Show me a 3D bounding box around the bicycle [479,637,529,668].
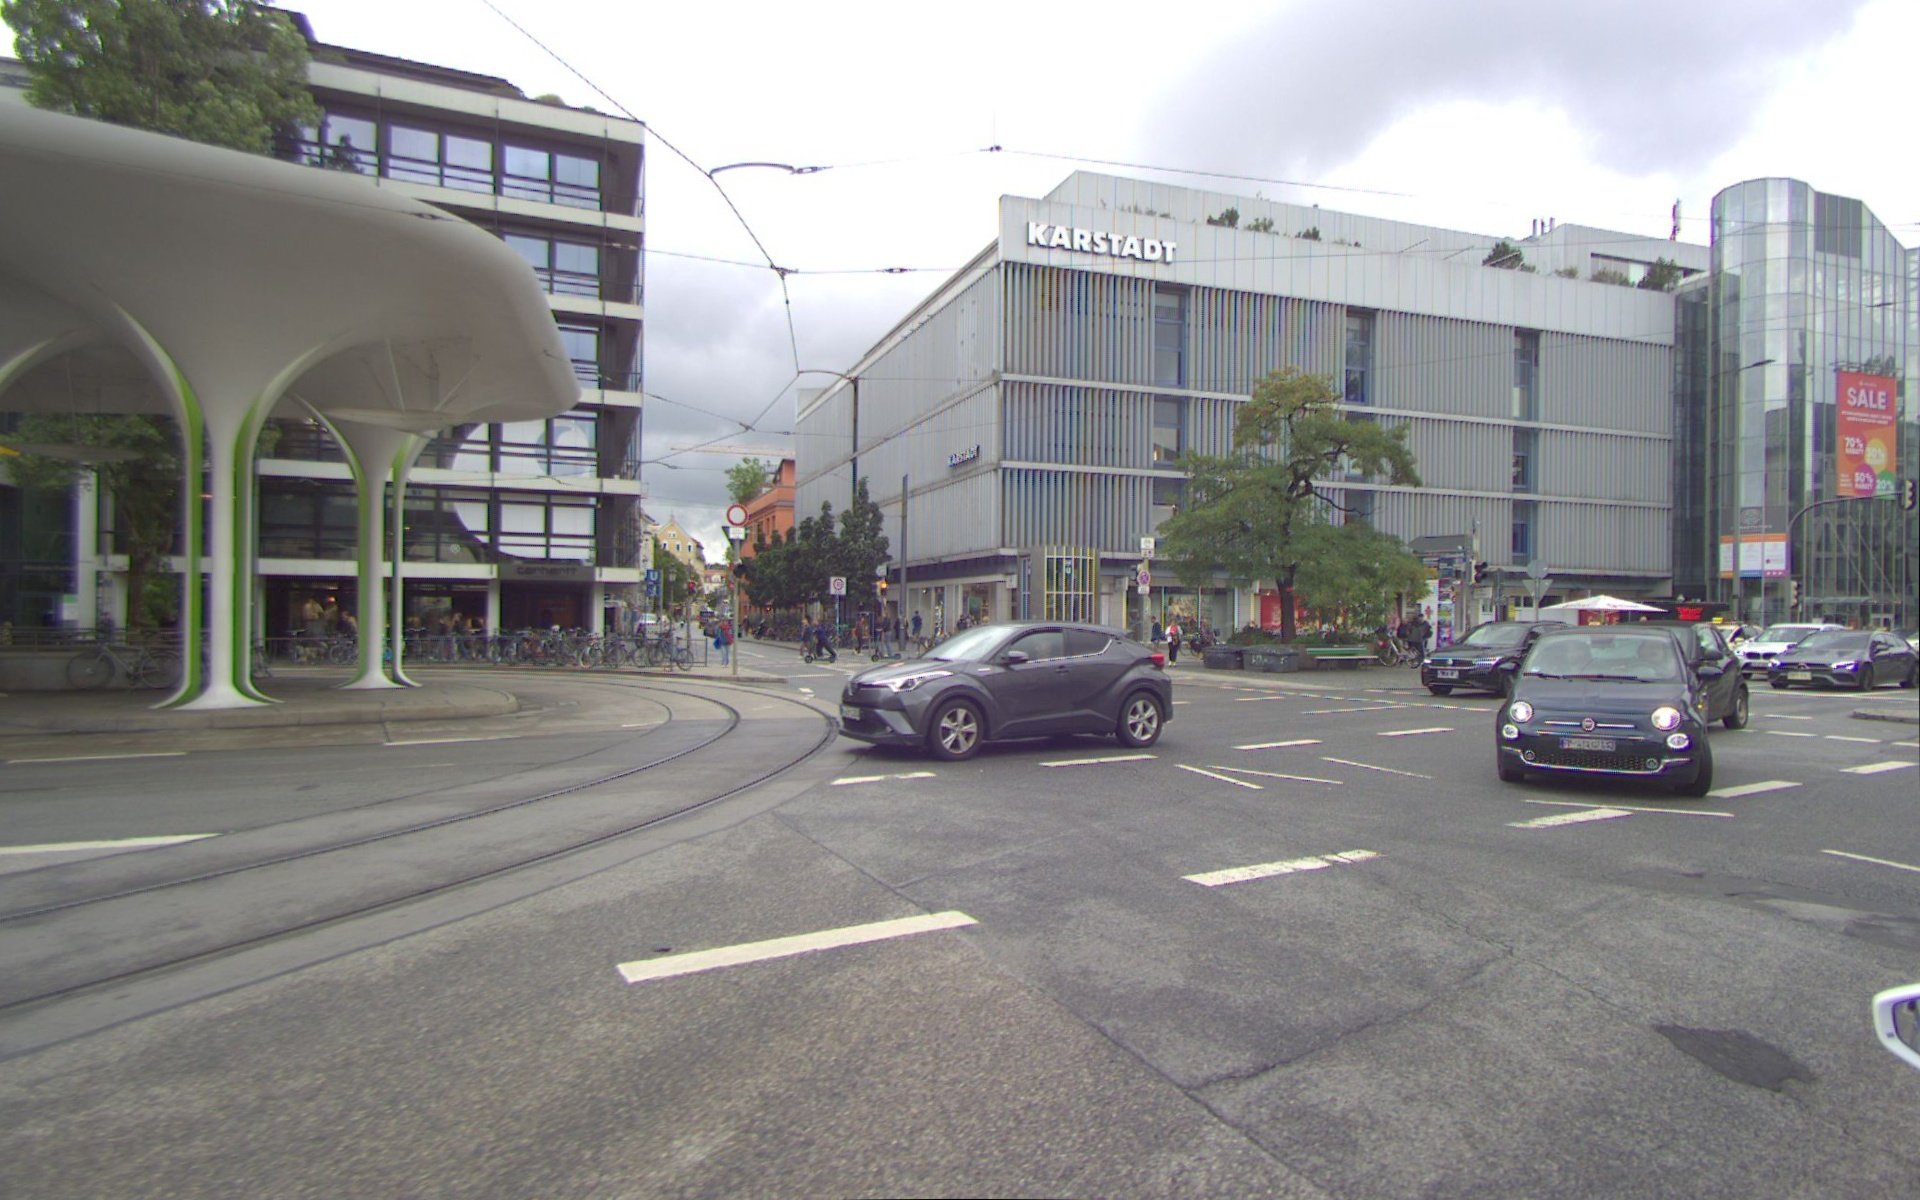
[{"bbox_3d":[-14.385,1.639,31.755,0.446,0.952,1.732,1,-2,14],"label":"bicycle"}]

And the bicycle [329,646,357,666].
[{"bbox_3d":[-21.479,1.942,34.977,0.357,0.641,1.630,0,-1,-15],"label":"bicycle"}]

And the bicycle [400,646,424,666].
[{"bbox_3d":[-19.537,1.986,35.836,0.357,0.641,1.630,0,-1,-15],"label":"bicycle"}]

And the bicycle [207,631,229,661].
[{"bbox_3d":[-25.022,1.541,33.900,0.445,0.939,1.812,1,-1,-32],"label":"bicycle"}]

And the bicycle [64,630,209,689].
[{"bbox_3d":[-16.464,1.186,20.146,2.133,1.139,0.640,1,-1,-21],"label":"bicycle"}]

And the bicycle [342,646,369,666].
[{"bbox_3d":[-21.127,1.951,35.108,0.357,0.641,1.630,0,-1,-15],"label":"bicycle"}]

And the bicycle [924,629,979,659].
[{"bbox_3d":[-0.312,1.596,36.464,1.963,1.011,0.524,3,-2,-30],"label":"bicycle"}]

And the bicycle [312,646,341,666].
[{"bbox_3d":[-21.933,1.932,34.806,0.357,0.641,1.630,0,-1,-15],"label":"bicycle"}]

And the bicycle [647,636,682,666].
[{"bbox_3d":[-11.255,1.934,38.305,0.420,1.088,1.635,0,-1,18],"label":"bicycle"}]

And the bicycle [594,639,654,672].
[{"bbox_3d":[-10.100,1.666,30.236,0.448,0.952,1.723,0,-2,40],"label":"bicycle"}]

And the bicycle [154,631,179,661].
[{"bbox_3d":[-26.279,1.514,33.272,0.445,0.939,1.812,1,-1,-32],"label":"bicycle"}]

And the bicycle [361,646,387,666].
[{"bbox_3d":[-20.592,1.964,35.296,0.357,0.641,1.630,0,-1,-15],"label":"bicycle"}]

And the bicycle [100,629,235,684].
[{"bbox_3d":[-16.859,1.189,21.427,2.149,1.133,0.652,1,-1,-20],"label":"bicycle"}]

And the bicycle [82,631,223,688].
[{"bbox_3d":[-16.658,1.205,20.773,2.149,1.133,0.652,1,-1,-20],"label":"bicycle"}]

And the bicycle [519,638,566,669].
[{"bbox_3d":[-13.168,1.675,31.746,0.446,0.952,1.732,1,-2,12],"label":"bicycle"}]

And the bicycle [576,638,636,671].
[{"bbox_3d":[-10.652,1.649,30.269,0.448,0.952,1.724,0,-2,38],"label":"bicycle"}]

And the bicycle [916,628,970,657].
[{"bbox_3d":[-0.613,1.579,36.978,1.963,1.011,0.524,3,-2,-30],"label":"bicycle"}]

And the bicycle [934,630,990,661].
[{"bbox_3d":[0.064,1.619,35.681,1.963,1.011,0.524,3,-2,-30],"label":"bicycle"}]

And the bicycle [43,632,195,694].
[{"bbox_3d":[-16.238,1.204,19.452,2.133,1.139,0.640,1,-1,-21],"label":"bicycle"}]

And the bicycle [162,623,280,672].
[{"bbox_3d":[-17.695,1.122,24.106,2.149,1.133,0.652,1,-1,-20],"label":"bicycle"}]

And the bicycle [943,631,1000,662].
[{"bbox_3d":[0.420,1.641,34.985,1.963,1.011,0.524,3,-2,-30],"label":"bicycle"}]

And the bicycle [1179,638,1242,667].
[{"bbox_3d":[10.952,2.287,44.076,1.043,1.172,3.493,1,-1,-17],"label":"bicycle"}]

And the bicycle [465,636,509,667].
[{"bbox_3d":[-15.048,1.616,31.988,0.446,0.952,1.732,1,-2,4],"label":"bicycle"}]

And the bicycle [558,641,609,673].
[{"bbox_3d":[-11.578,1.734,30.962,0.446,0.952,1.731,1,-2,19],"label":"bicycle"}]

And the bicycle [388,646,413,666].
[{"bbox_3d":[-19.887,1.978,35.728,0.357,0.641,1.630,0,-1,-15],"label":"bicycle"}]

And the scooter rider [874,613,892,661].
[{"bbox_3d":[-3.006,1.431,39.292,0.655,1.859,0.619,1,-1,-10],"label":"scooter rider"}]

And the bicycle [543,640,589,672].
[{"bbox_3d":[-12.196,1.713,31.135,0.446,0.952,1.732,1,-2,12],"label":"bicycle"}]

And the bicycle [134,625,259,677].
[{"bbox_3d":[-17.307,1.153,22.829,2.149,1.133,0.652,1,-1,-20],"label":"bicycle"}]

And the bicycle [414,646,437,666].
[{"bbox_3d":[-19.142,1.996,35.985,0.357,0.641,1.630,0,-1,-15],"label":"bicycle"}]

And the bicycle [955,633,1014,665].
[{"bbox_3d":[0.841,1.668,34.046,1.963,1.011,0.524,3,-2,-30],"label":"bicycle"}]

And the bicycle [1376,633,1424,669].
[{"bbox_3d":[14.319,1.644,32.724,0.368,1.126,1.569,1,0,-26],"label":"bicycle"}]

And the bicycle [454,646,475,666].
[{"bbox_3d":[-17.941,2.024,36.412,0.357,0.641,1.630,0,-1,-15],"label":"bicycle"}]

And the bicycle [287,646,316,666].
[{"bbox_3d":[-22.647,1.915,34.563,0.357,0.641,1.630,0,-1,-15],"label":"bicycle"}]

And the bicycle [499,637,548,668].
[{"bbox_3d":[-13.843,1.652,31.898,0.446,0.952,1.732,1,-2,14],"label":"bicycle"}]

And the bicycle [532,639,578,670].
[{"bbox_3d":[-12.688,1.693,31.507,0.446,0.952,1.732,1,-2,12],"label":"bicycle"}]

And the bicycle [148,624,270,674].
[{"bbox_3d":[-17.509,1.137,23.470,2.149,1.133,0.652,1,-1,-20],"label":"bicycle"}]

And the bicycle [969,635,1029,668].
[{"bbox_3d":[1.284,1.698,32.964,1.963,1.011,0.524,3,-2,-30],"label":"bicycle"}]

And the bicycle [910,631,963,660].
[{"bbox_3d":[-0.862,1.688,37.556,1.963,1.011,0.524,3,-2,-30],"label":"bicycle"}]

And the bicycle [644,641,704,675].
[{"bbox_3d":[-8.317,1.681,29.233,0.448,0.952,1.723,0,-2,39],"label":"bicycle"}]

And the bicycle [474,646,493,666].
[{"bbox_3d":[-17.374,2.038,36.637,0.357,0.641,1.630,0,-1,-15],"label":"bicycle"}]

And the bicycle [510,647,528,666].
[{"bbox_3d":[-16.267,2.063,37.070,0.357,0.641,1.630,0,-1,-15],"label":"bicycle"}]

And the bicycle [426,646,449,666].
[{"bbox_3d":[-18.758,2.006,36.074,0.357,0.641,1.630,0,-1,-15],"label":"bicycle"}]

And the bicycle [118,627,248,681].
[{"bbox_3d":[-17.063,1.172,22.109,2.149,1.133,0.652,1,-1,-20],"label":"bicycle"}]

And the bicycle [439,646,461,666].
[{"bbox_3d":[-18.400,2.013,36.268,0.357,0.641,1.630,0,-1,-15],"label":"bicycle"}]

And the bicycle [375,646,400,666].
[{"bbox_3d":[-20.256,1.969,35.562,0.357,0.641,1.630,0,-1,-15],"label":"bicycle"}]

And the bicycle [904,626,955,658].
[{"bbox_3d":[-1.145,1.592,38.073,1.871,1.126,0.582,3,-2,-30],"label":"bicycle"}]
